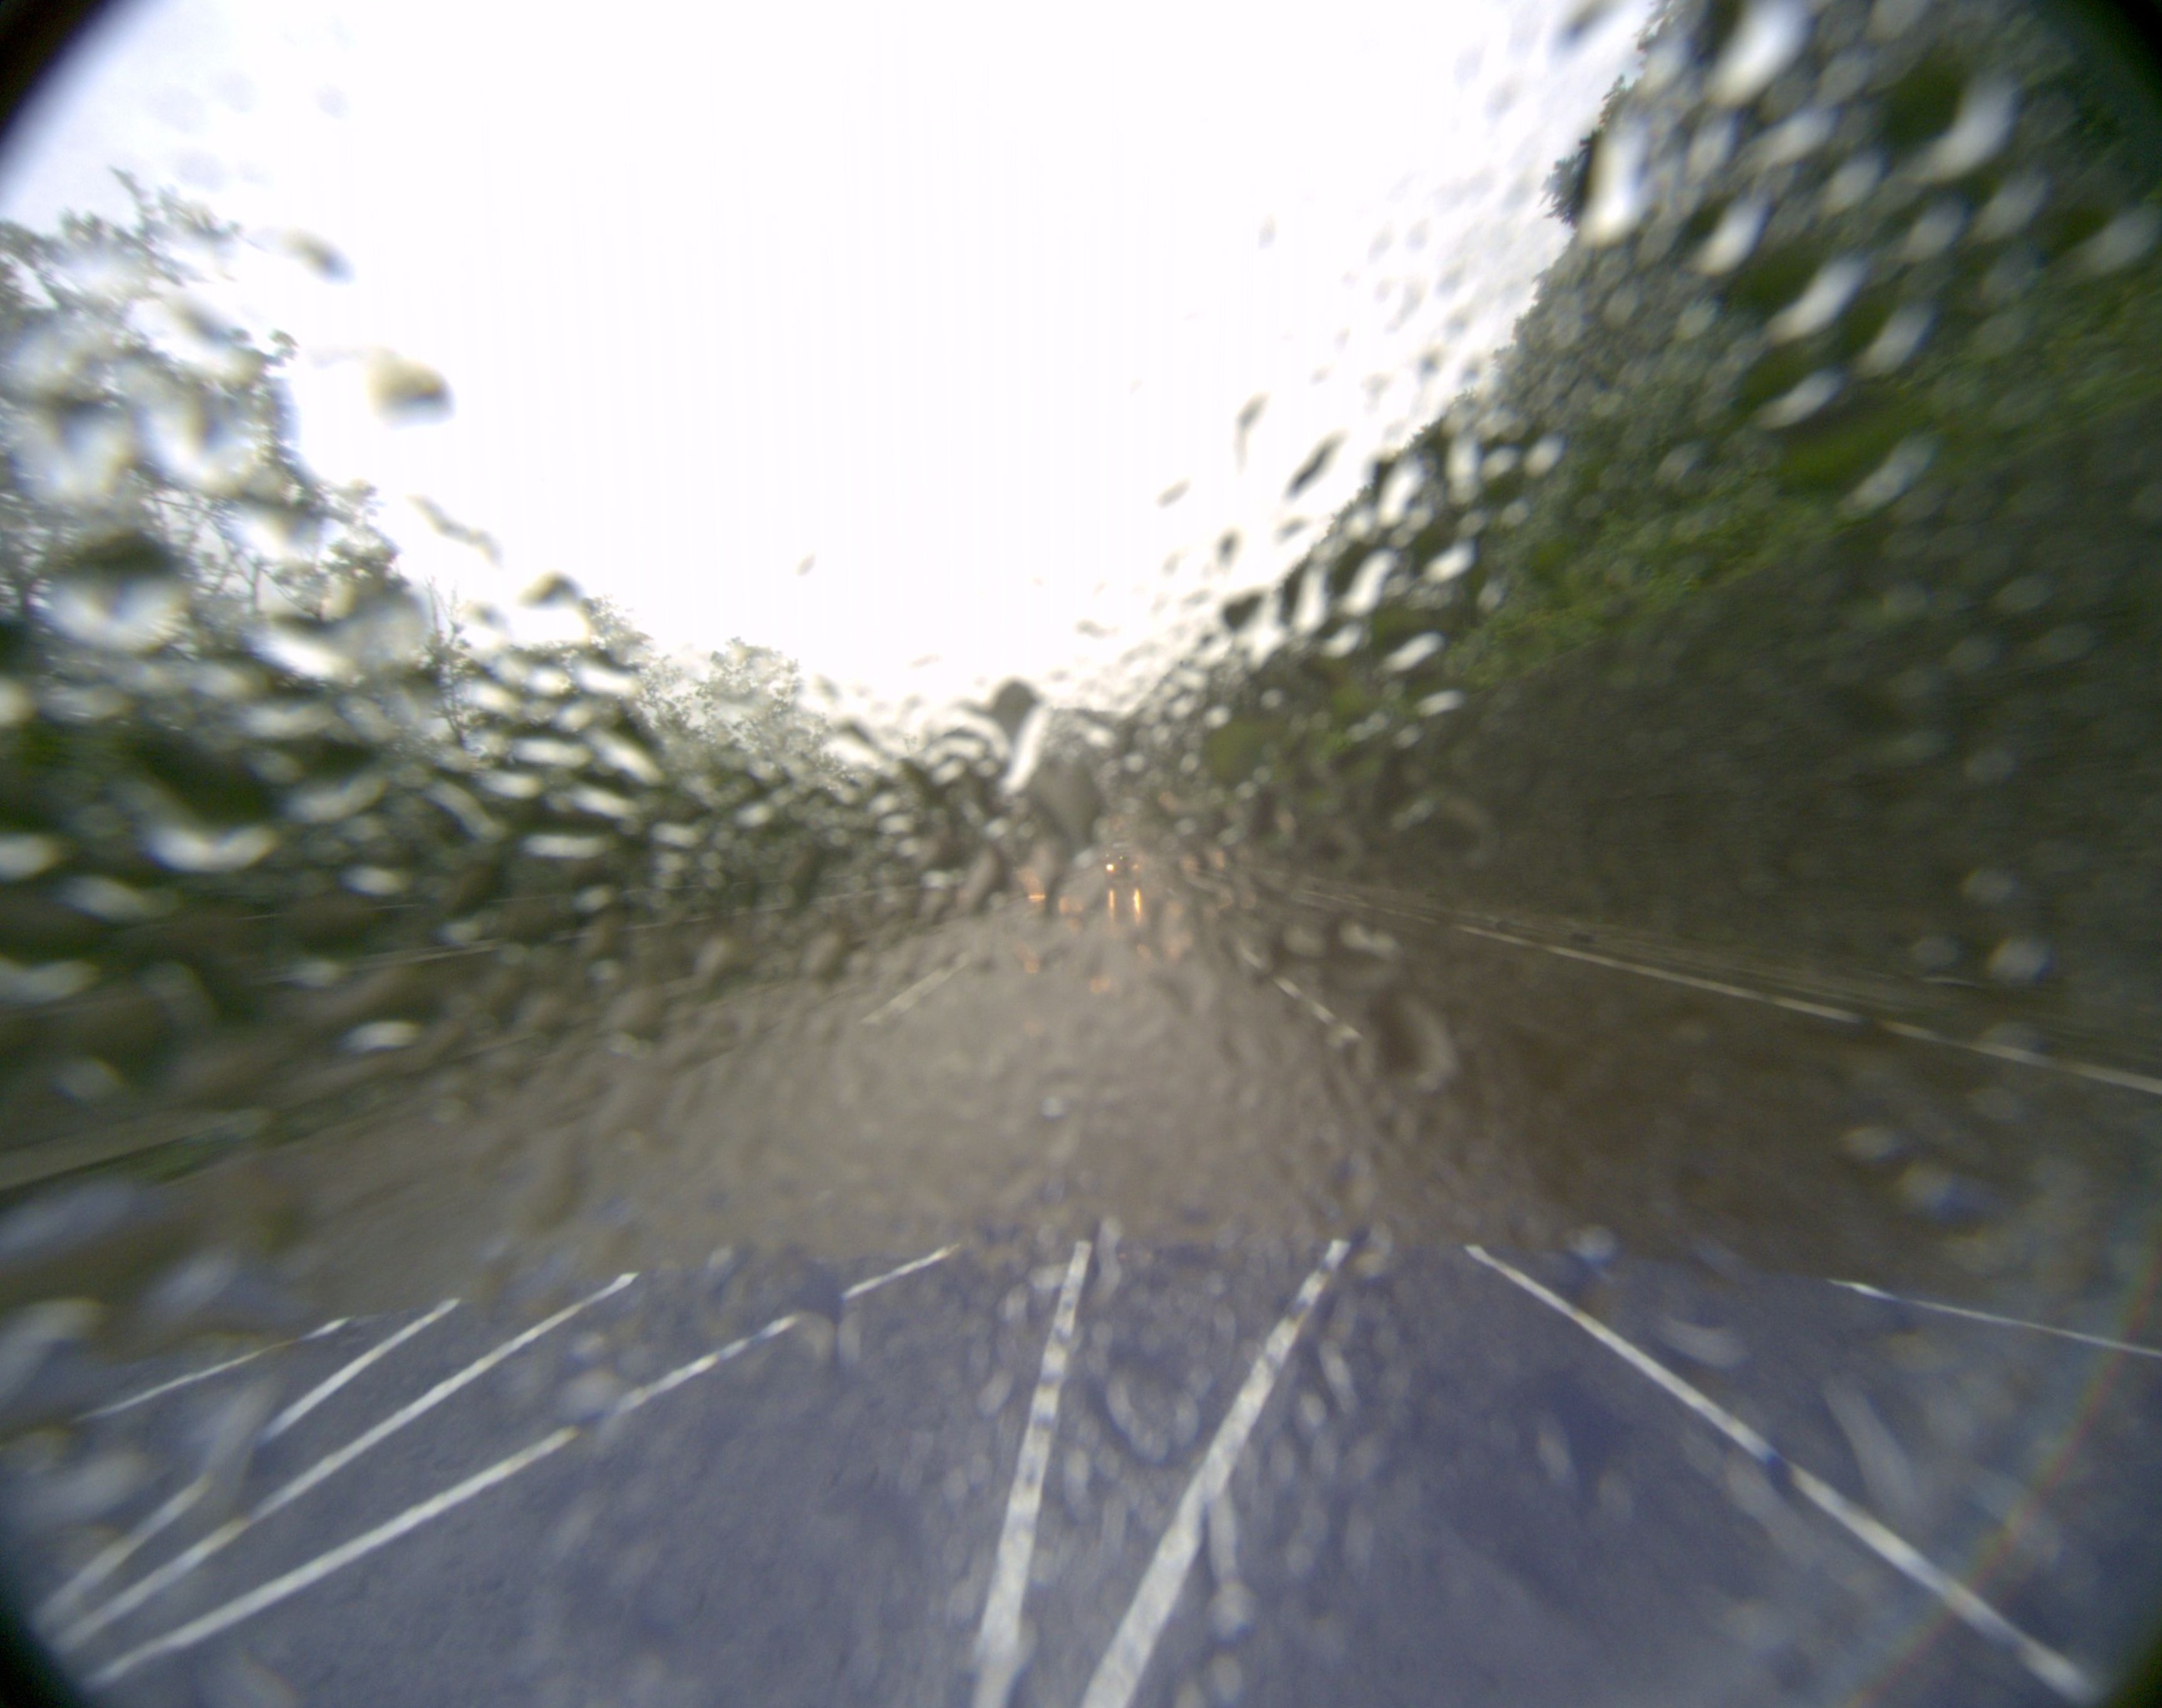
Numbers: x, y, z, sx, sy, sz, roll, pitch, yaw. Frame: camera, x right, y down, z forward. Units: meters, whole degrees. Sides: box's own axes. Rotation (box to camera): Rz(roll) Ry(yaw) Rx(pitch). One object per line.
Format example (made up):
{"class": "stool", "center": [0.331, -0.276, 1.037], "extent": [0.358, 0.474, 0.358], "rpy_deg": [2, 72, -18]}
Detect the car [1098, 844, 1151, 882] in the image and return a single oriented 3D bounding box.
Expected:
{"class": "car", "center": [2.188, 0.385, 37.808], "extent": [2.359, 1.549, 5.499], "rpy_deg": [-4, 1, 4]}
